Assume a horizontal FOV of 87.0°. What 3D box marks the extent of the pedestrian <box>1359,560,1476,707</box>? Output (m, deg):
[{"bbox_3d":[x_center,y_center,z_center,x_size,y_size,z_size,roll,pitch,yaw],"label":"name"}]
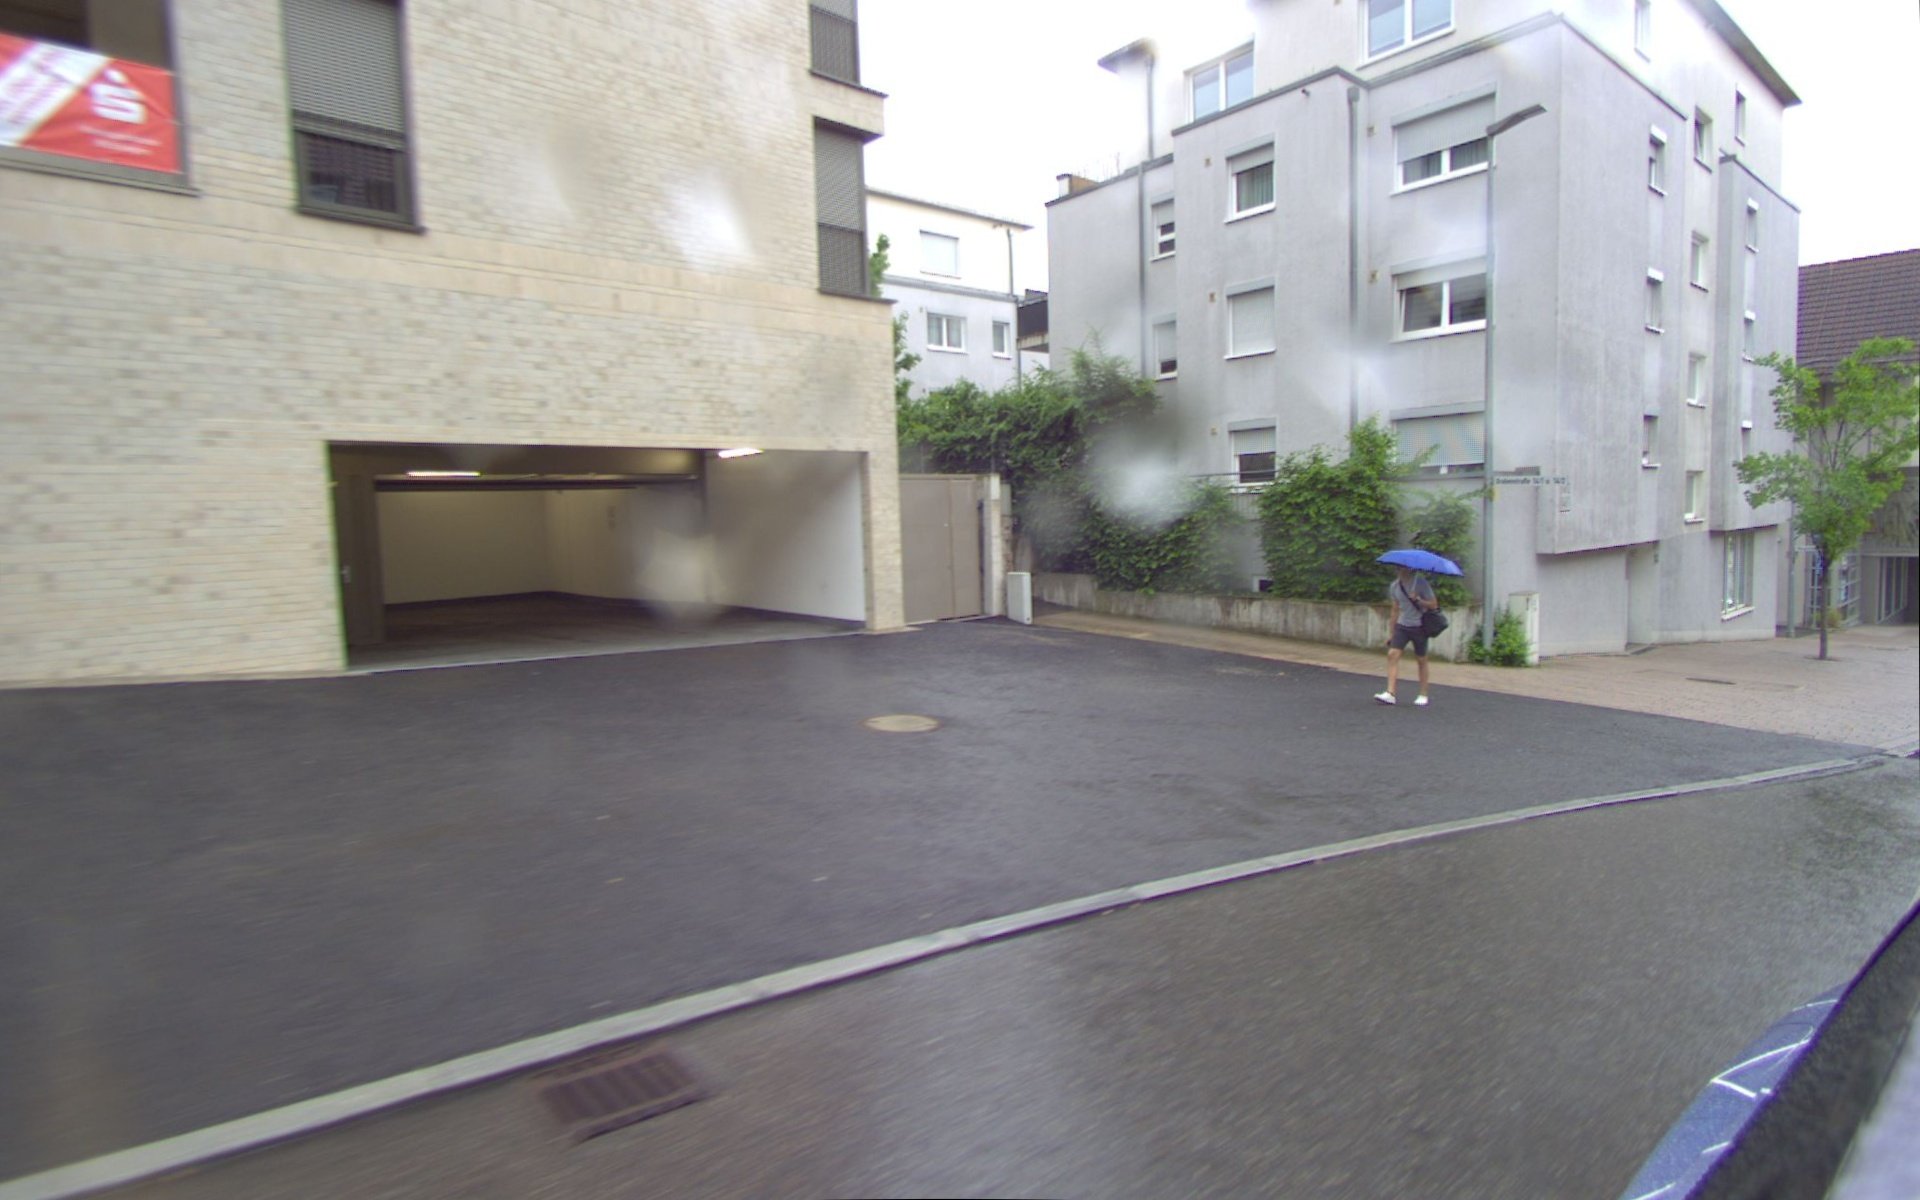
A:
[{"bbox_3d":[5.263,0.353,11.653,1.019,1.560,0.738,0,5,-37],"label":"pedestrian"}]
